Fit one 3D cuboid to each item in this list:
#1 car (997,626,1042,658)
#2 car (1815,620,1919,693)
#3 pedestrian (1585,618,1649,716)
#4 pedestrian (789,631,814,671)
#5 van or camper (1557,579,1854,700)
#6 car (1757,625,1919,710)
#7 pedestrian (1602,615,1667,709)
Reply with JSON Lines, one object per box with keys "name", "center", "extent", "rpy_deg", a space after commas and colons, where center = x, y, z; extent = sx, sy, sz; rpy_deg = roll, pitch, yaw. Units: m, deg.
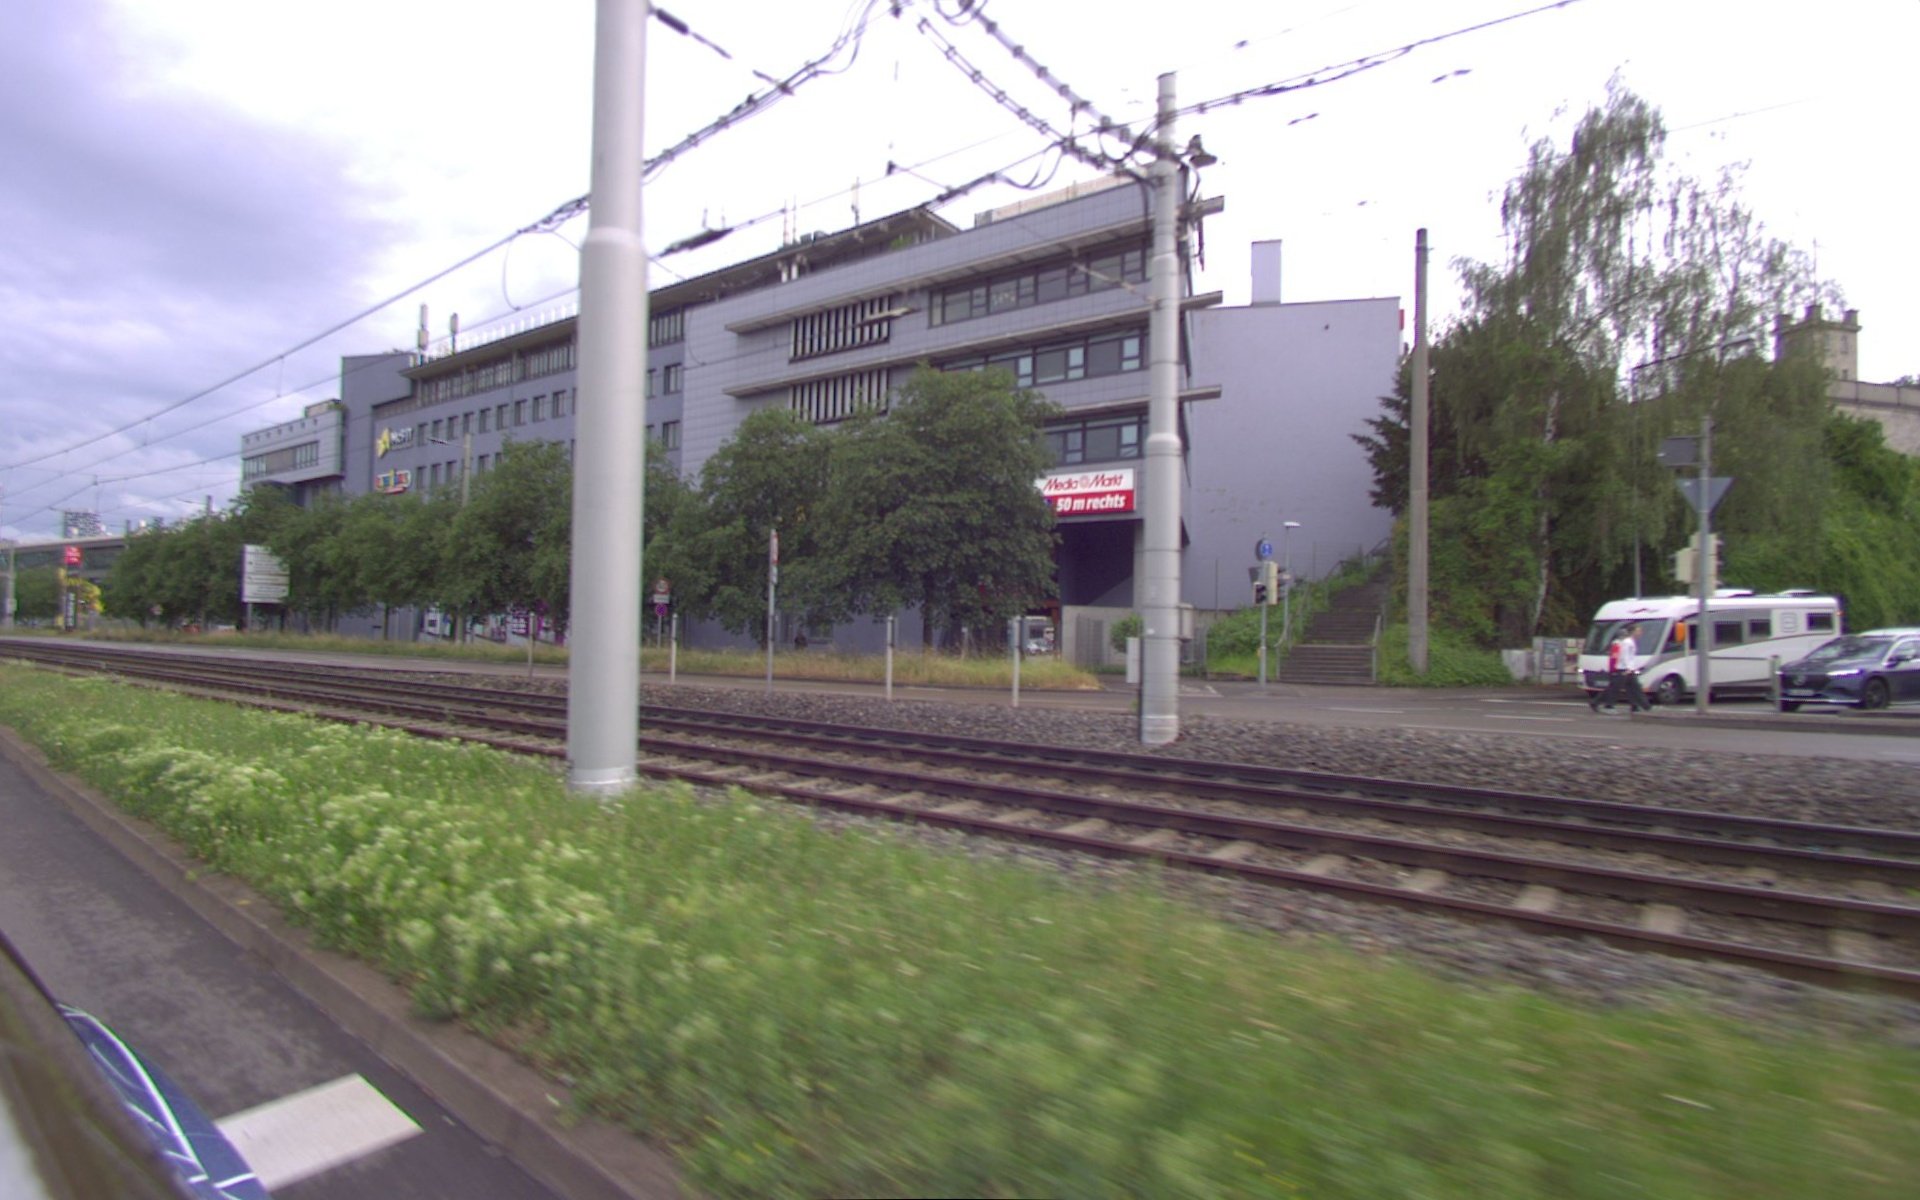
{"name": "car", "center": [3.479, 2.390, 58.469], "extent": [1.616, 1.741, 3.976], "rpy_deg": [0, -1, 18]}
{"name": "car", "center": [27.629, 1.613, 29.846], "extent": [4.446, 2.029, 2.006], "rpy_deg": [1, -2, -25]}
{"name": "pedestrian", "center": [13.943, 1.398, 21.484], "extent": [0.876, 2.029, 0.946], "rpy_deg": [2, -3, -43]}
{"name": "pedestrian", "center": [-7.125, 2.280, 45.411], "extent": [0.877, 1.768, 0.717], "rpy_deg": [-1, 0, 41]}
{"name": "van or camper", "center": [20.012, 1.052, 27.213], "extent": [7.249, 2.990, 2.498], "rpy_deg": [1, -2, -17]}
{"name": "car", "center": [20.417, 1.434, 22.482], "extent": [4.552, 1.746, 2.006], "rpy_deg": [0, -2, -17]}
{"name": "pedestrian", "center": [13.785, 1.250, 20.692], "extent": [0.626, 1.881, 0.955], "rpy_deg": [3, -3, -42]}
